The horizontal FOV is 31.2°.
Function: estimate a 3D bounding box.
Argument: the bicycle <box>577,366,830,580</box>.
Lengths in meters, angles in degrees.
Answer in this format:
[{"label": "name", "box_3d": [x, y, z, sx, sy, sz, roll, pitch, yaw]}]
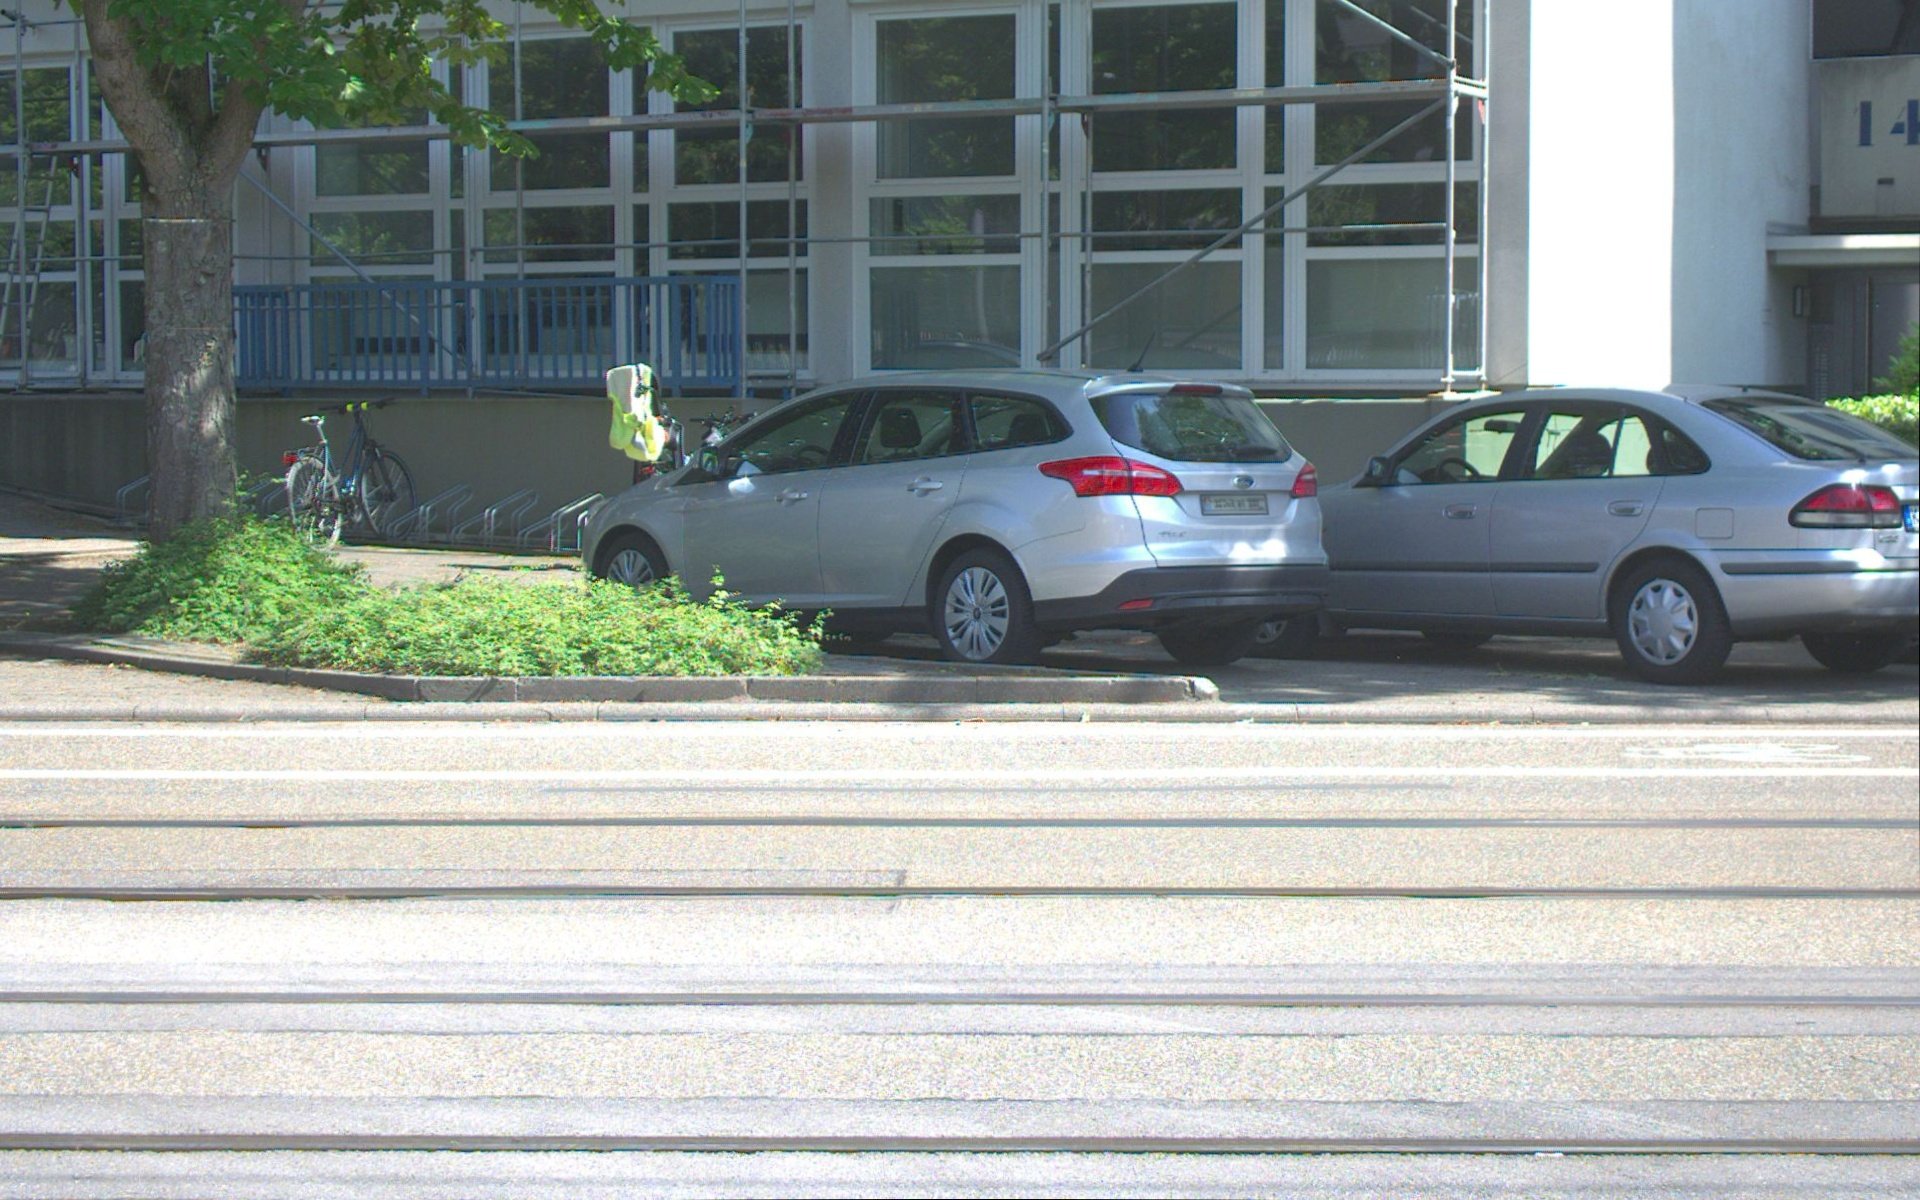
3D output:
[{"label": "bicycle", "box_3d": [-1.783, -0.923, 24.256, 0.662, 1.448, 2.087, 2, 4, 32]}]

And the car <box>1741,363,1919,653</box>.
[{"label": "car", "box_3d": [6.097, -0.478, 17.448, 1.609, 1.481, 3.943, -3, 4, -43]}]

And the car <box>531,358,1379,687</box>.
[{"label": "car", "box_3d": [-0.147, -0.485, 17.678, 1.780, 1.480, 4.433, -3, 5, -44]}]

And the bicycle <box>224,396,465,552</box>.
[{"label": "bicycle", "box_3d": [-4.490, -0.952, 25.259, 0.742, 1.082, 2.201, 1, 4, 20]}]

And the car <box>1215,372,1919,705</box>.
[{"label": "car", "box_3d": [3.265, -0.396, 17.277, 1.609, 1.480, 3.944, -3, 5, -42]}]
